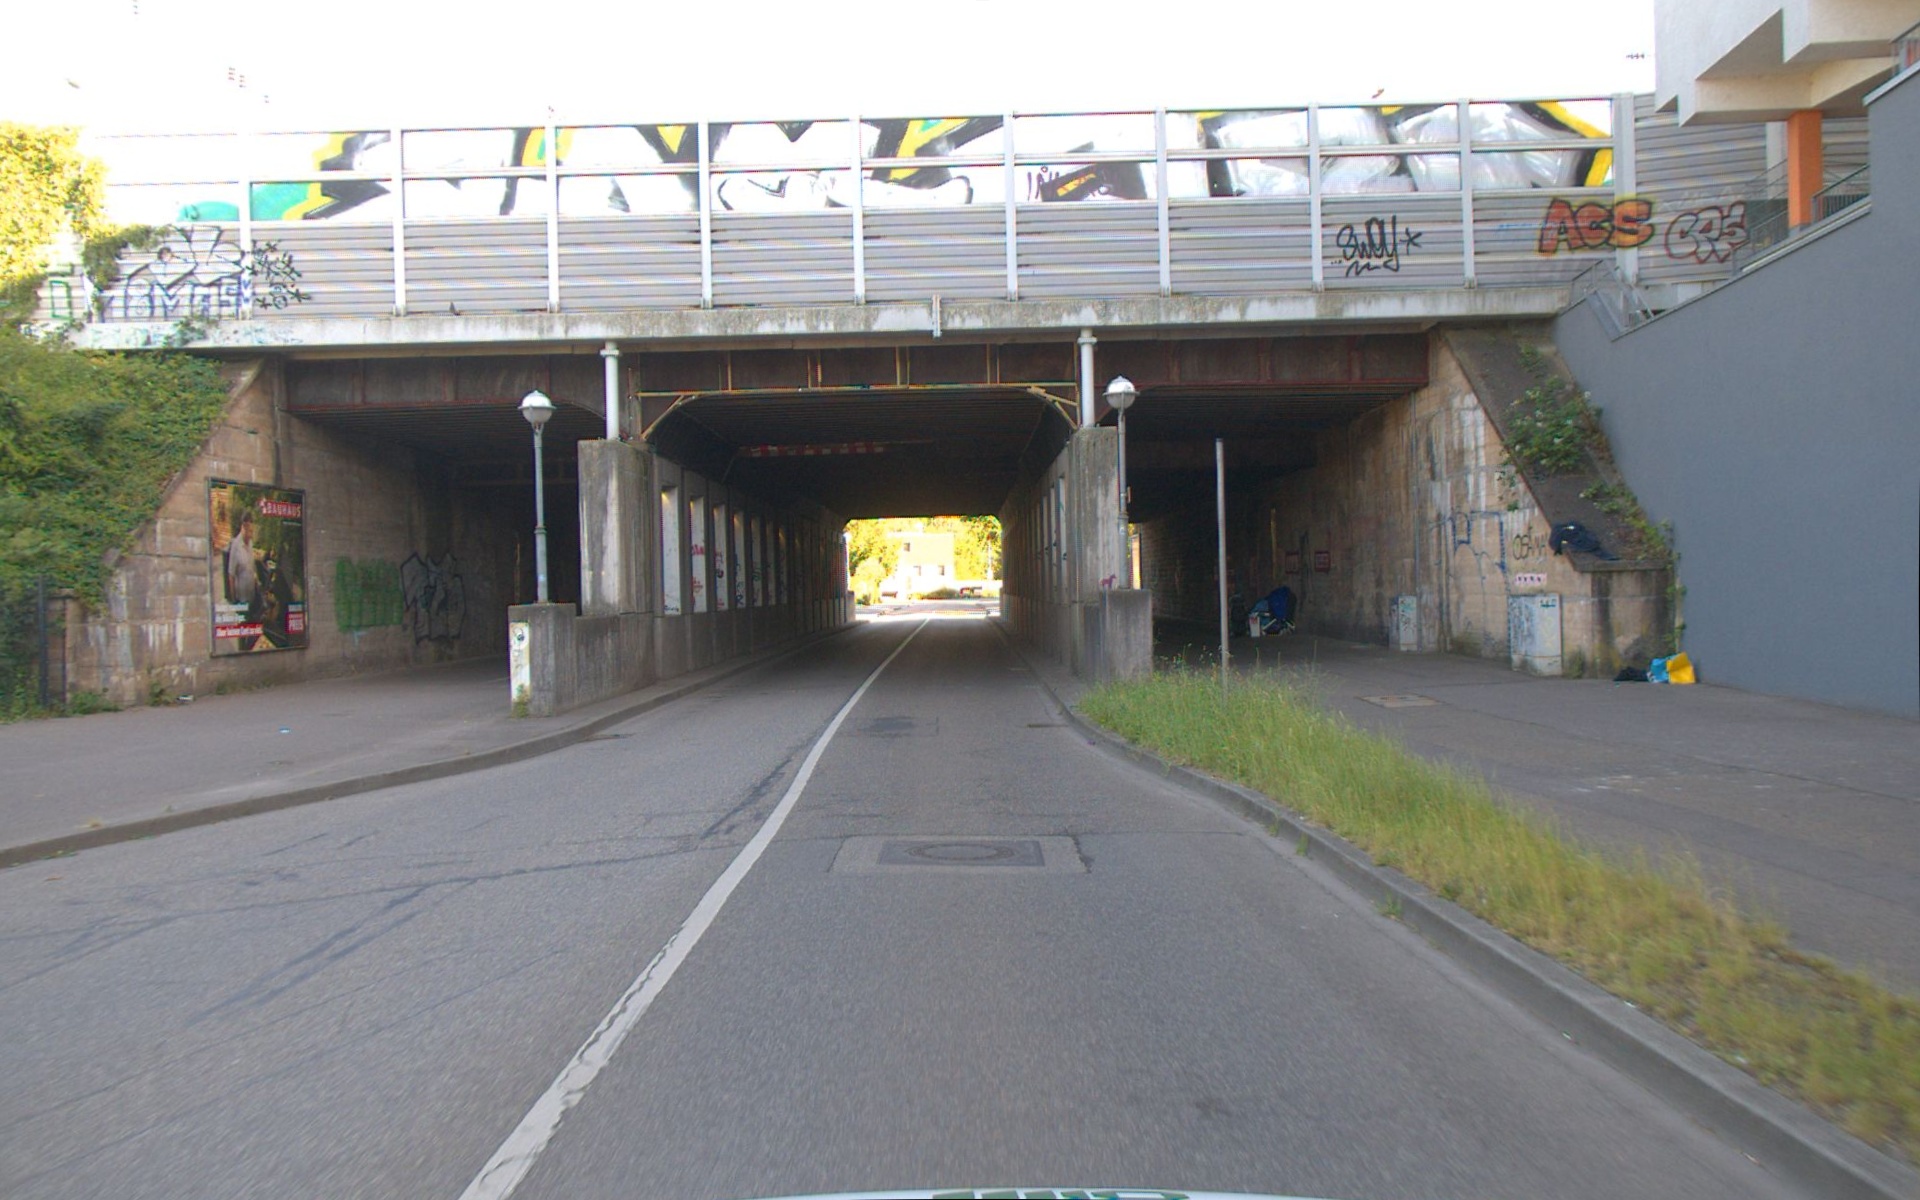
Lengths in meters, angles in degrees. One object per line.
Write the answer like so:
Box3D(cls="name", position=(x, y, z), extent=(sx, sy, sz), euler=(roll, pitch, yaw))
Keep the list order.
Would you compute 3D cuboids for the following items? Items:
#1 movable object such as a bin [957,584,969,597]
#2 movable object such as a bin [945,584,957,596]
Box3D(cls="movable object such as a bin", position=(0.337, -1.148, 199.190), extent=(1.339, 1.443, 1.064), euler=(1, -1, -7))
Box3D(cls="movable object such as a bin", position=(-1.069, -1.165, 198.994), extent=(1.339, 1.443, 1.064), euler=(1, -1, -7))
